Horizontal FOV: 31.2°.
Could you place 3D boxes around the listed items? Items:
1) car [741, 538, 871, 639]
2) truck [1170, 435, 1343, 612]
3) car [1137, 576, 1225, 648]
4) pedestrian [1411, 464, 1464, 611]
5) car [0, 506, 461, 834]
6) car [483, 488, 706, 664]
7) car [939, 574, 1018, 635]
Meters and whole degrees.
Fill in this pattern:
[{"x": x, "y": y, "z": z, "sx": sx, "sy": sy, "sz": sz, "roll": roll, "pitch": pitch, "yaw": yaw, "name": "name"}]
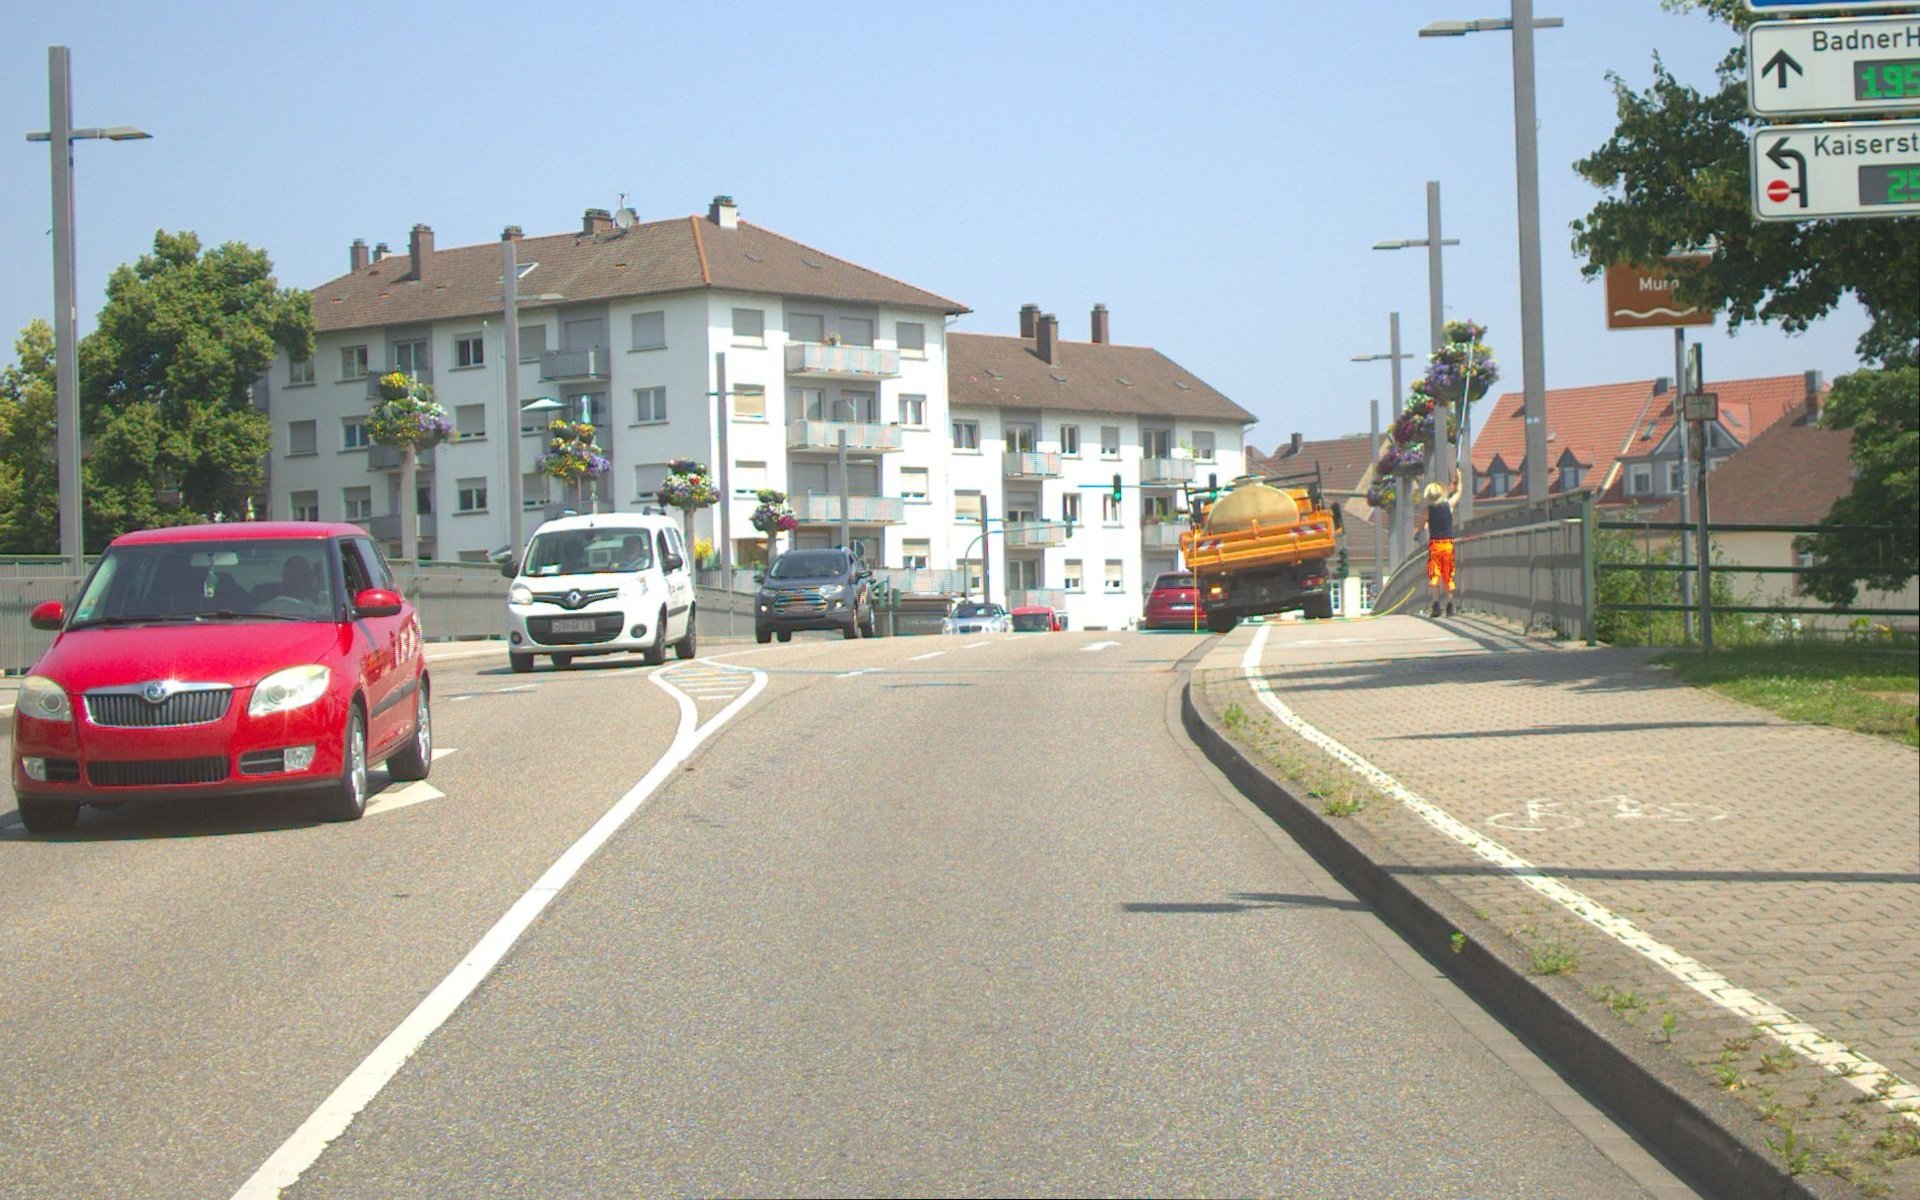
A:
[{"x": -2.674, "y": -0.192, "z": 60.552, "sx": 1.737, "sy": 1.635, "sz": 3.920, "roll": -3, "pitch": 0, "yaw": 4, "name": "car"}, {"x": 4.943, "y": -1.204, "z": 56.741, "sx": 2.606, "sy": 2.682, "sz": 5.821, "roll": -2, "pitch": 0, "yaw": 6, "name": "truck"}, {"x": 5.294, "y": 0.282, "z": 82.203, "sx": 1.990, "sy": 1.607, "sz": 4.342, "roll": -2, "pitch": 0, "yaw": 4, "name": "car"}, {"x": 6.474, "y": -0.838, "z": 46.633, "sx": 0.546, "sy": 1.953, "sz": 0.673, "roll": -2, "pitch": -1, "yaw": -3, "name": "pedestrian"}, {"x": -3.739, "y": 0.298, "z": 17.795, "sx": 1.647, "sy": 1.459, "sz": 3.861, "roll": -2, "pitch": 1, "yaw": 1, "name": "car"}, {"x": -4.237, "y": -0.330, "z": 40.566, "sx": 1.837, "sy": 1.854, "sz": 4.663, "roll": -3, "pitch": 1, "yaw": 3, "name": "car"}, {"x": 0.533, "y": 0.141, "z": 93.746, "sx": 1.699, "sy": 1.354, "sz": 4.454, "roll": 3, "pitch": -3, "yaw": 6, "name": "car"}]
